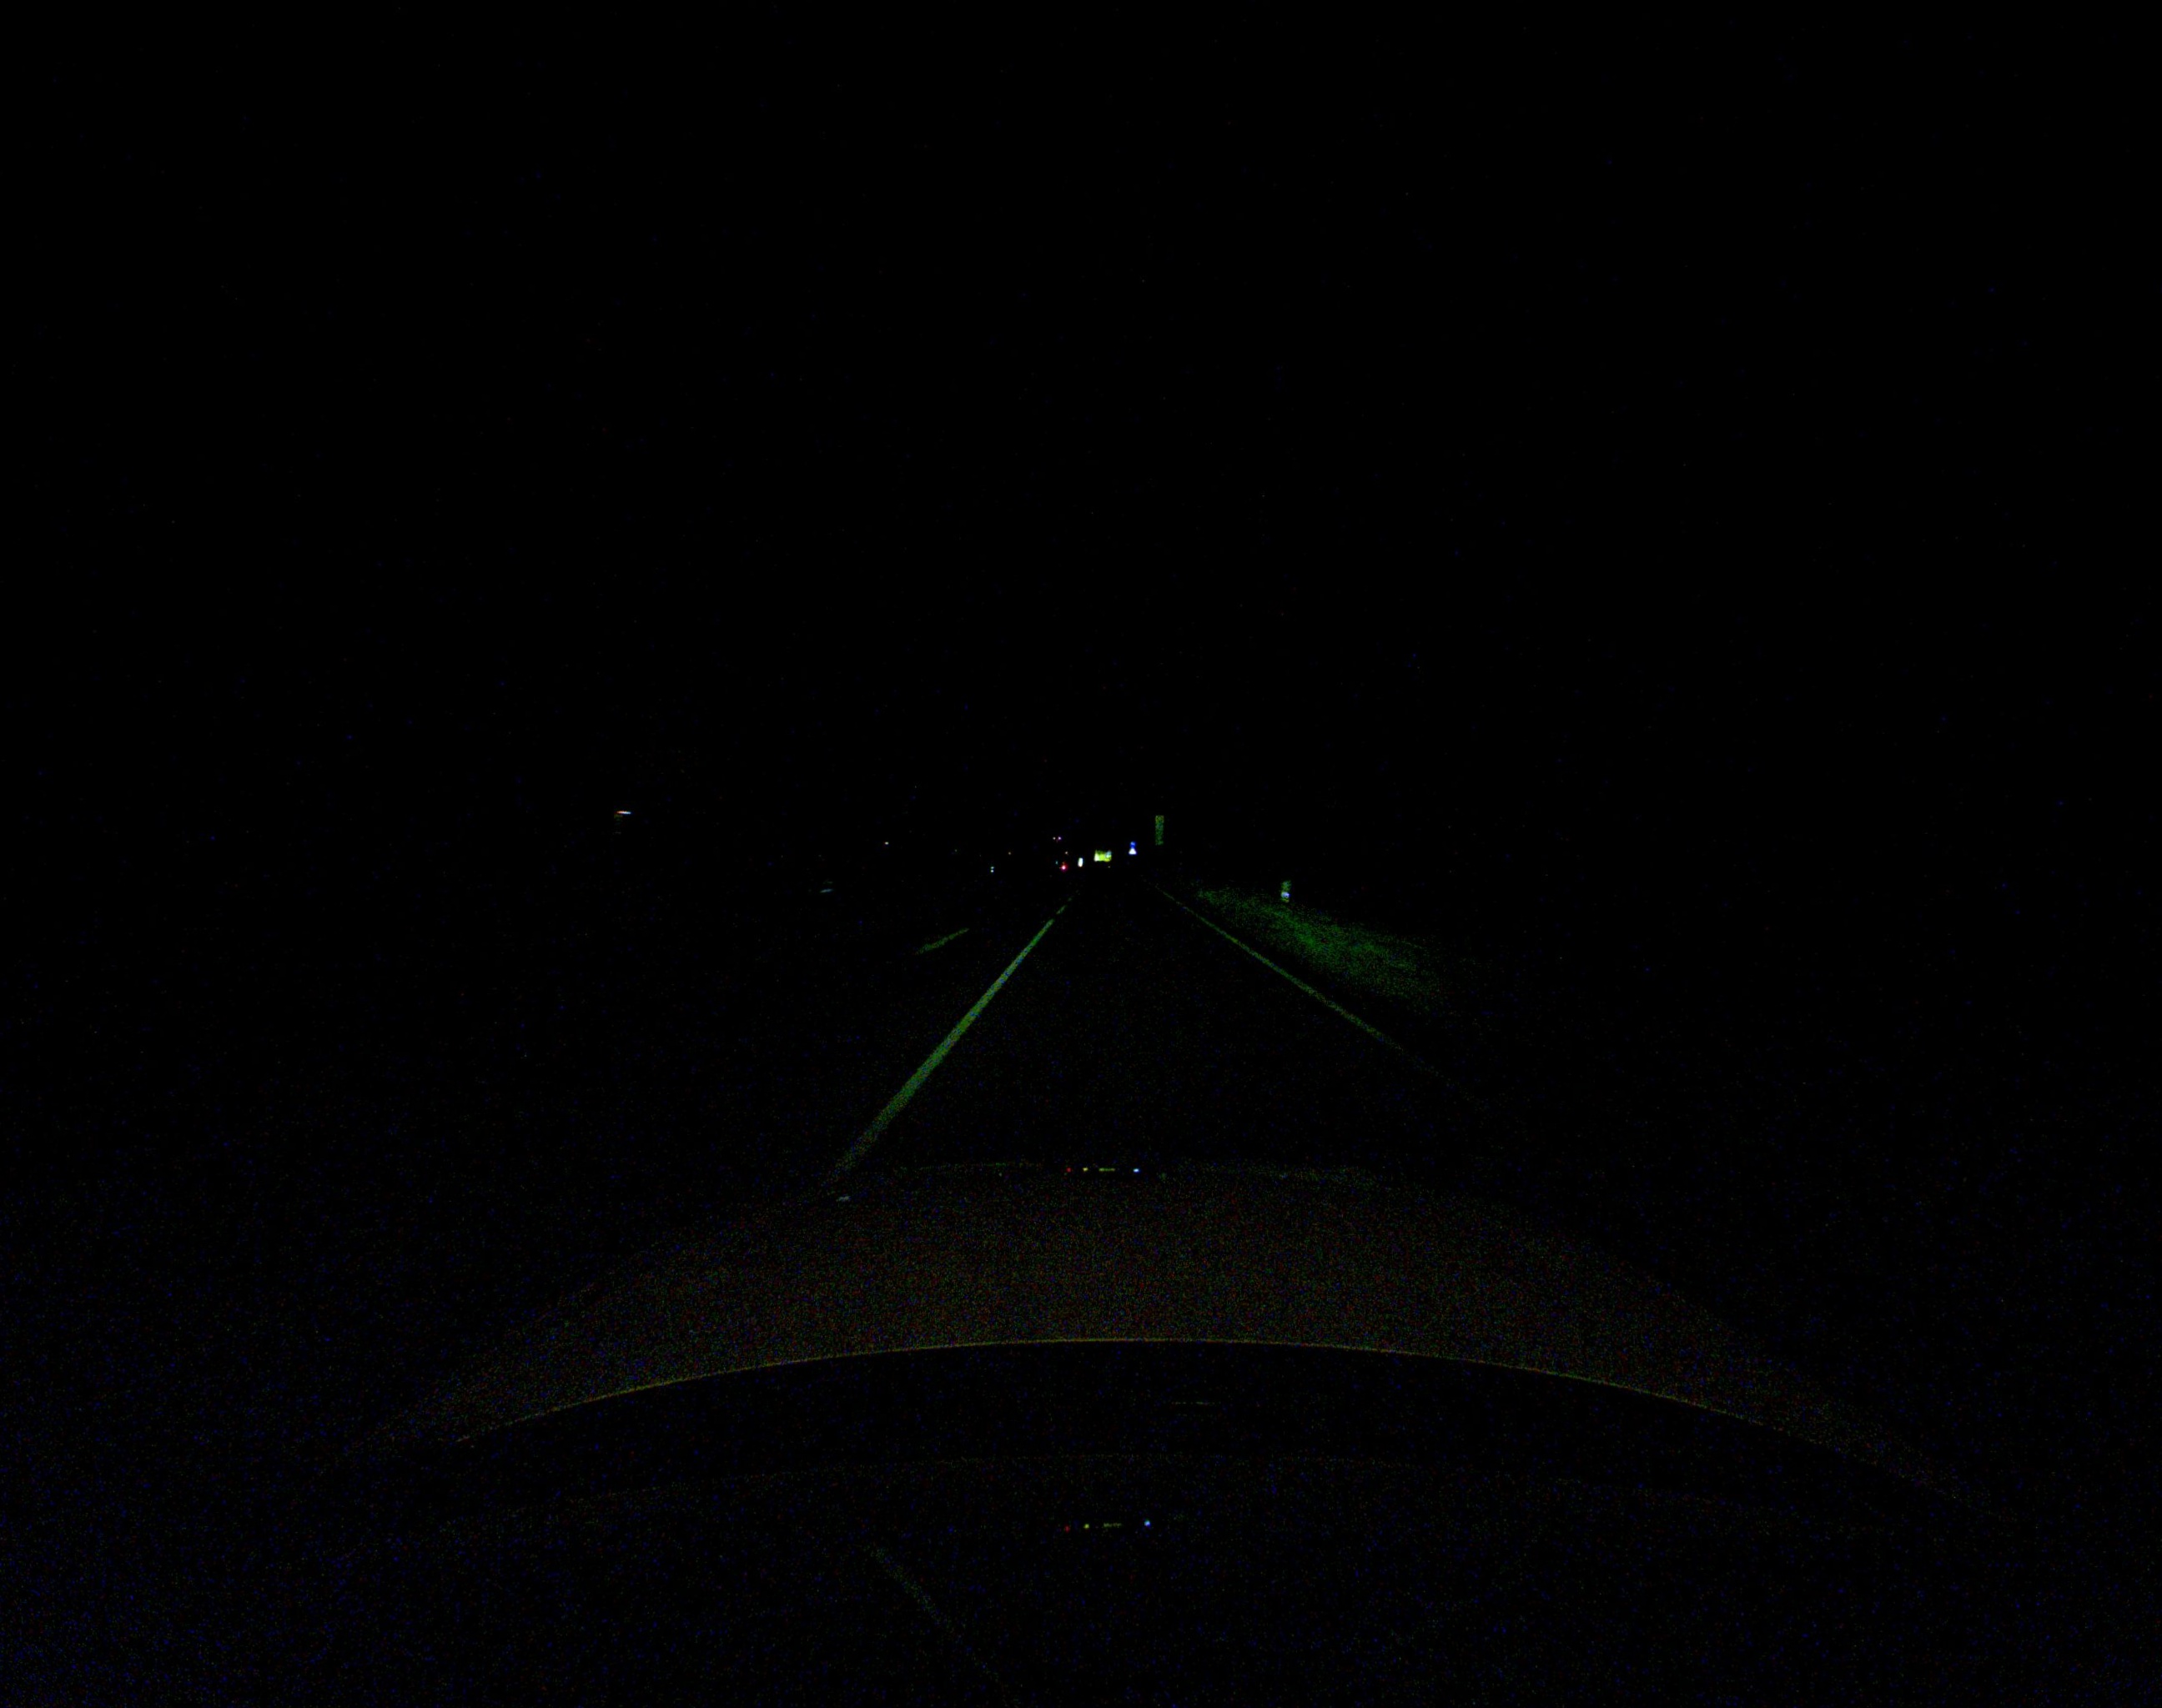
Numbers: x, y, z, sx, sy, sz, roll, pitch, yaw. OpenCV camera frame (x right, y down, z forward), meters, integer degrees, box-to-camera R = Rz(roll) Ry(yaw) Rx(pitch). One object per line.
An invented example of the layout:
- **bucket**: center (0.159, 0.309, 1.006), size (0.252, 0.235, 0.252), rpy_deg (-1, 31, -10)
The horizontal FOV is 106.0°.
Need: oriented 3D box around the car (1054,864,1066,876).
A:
- **car**: center (-4.048, 3.072, 156.866), size (1.991, 2.014, 3.991), rpy_deg (2, -3, -6)
